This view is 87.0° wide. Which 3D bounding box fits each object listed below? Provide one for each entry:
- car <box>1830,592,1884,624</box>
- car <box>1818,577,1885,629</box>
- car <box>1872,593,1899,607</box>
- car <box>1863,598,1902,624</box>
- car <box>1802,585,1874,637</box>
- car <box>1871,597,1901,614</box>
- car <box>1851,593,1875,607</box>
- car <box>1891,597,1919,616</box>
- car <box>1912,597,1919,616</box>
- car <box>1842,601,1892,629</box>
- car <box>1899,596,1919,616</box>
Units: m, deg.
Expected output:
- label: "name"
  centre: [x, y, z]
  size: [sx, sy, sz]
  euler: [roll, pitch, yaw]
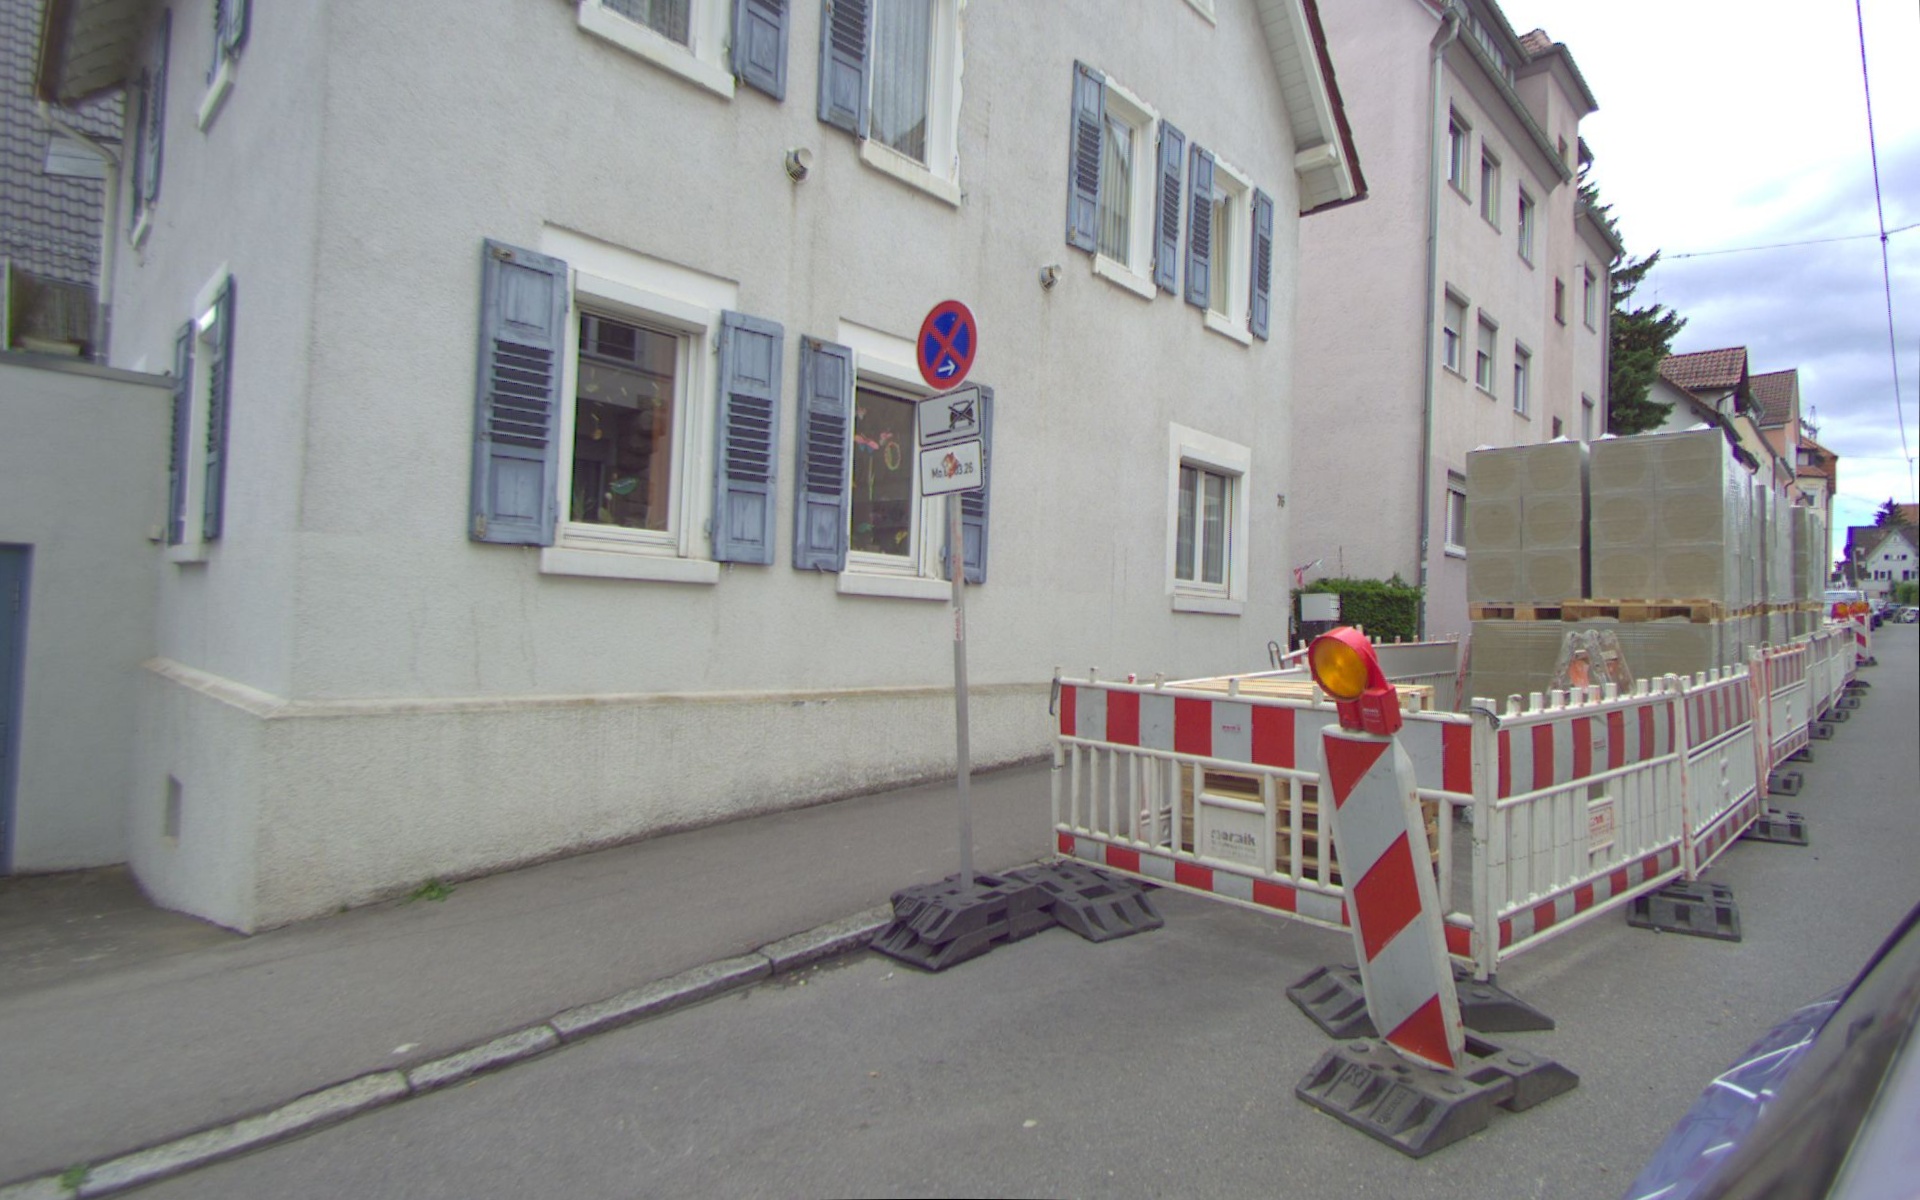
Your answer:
- label: "car"
  centre: [44.581, 0.368, 50.300]
  size: [1.851, 1.421, 4.506]
  euler: [-4, -2, 42]
- label: "car"
  centre: [37.512, 0.155, 42.512]
  size: [1.905, 2.056, 5.643]
  euler: [-2, -1, 43]
- label: "car"
  centre: [106.972, 0.017, 117.035]
  size: [1.846, 1.467, 3.894]
  euler: [3, 2, 37]
- label: "car"
  centre: [55.337, 0.668, 60.722]
  size: [1.667, 1.498, 3.569]
  euler: [1, 0, 43]
- label: "car"
  centre: [29.438, 0.361, 33.900]
  size: [1.712, 1.617, 4.429]
  euler: [-1, -1, 42]
- label: "car"
  centre: [94.750, 0.556, 103.613]
  size: [1.846, 1.671, 3.894]
  euler: [3, 2, 37]
- label: "car"
  centre: [109.470, 0.008, 122.713]
  size: [1.846, 1.467, 3.895]
  euler: [3, 3, 37]
- label: "car"
  centre: [88.169, 0.572, 94.139]
  size: [1.846, 1.671, 3.894]
  euler: [3, 2, 37]
- label: "car"
  centre: [76.856, 0.558, 80.123]
  size: [1.847, 1.482, 3.890]
  euler: [3, 1, 39]
- label: "car"
  centre: [48.802, 0.796, 54.448]
  size: [1.852, 1.421, 4.224]
  euler: [-1, -1, 44]
- label: "car"
  centre: [84.083, 0.555, 88.971]
  size: [1.847, 1.671, 3.890]
  euler: [3, 1, 39]
